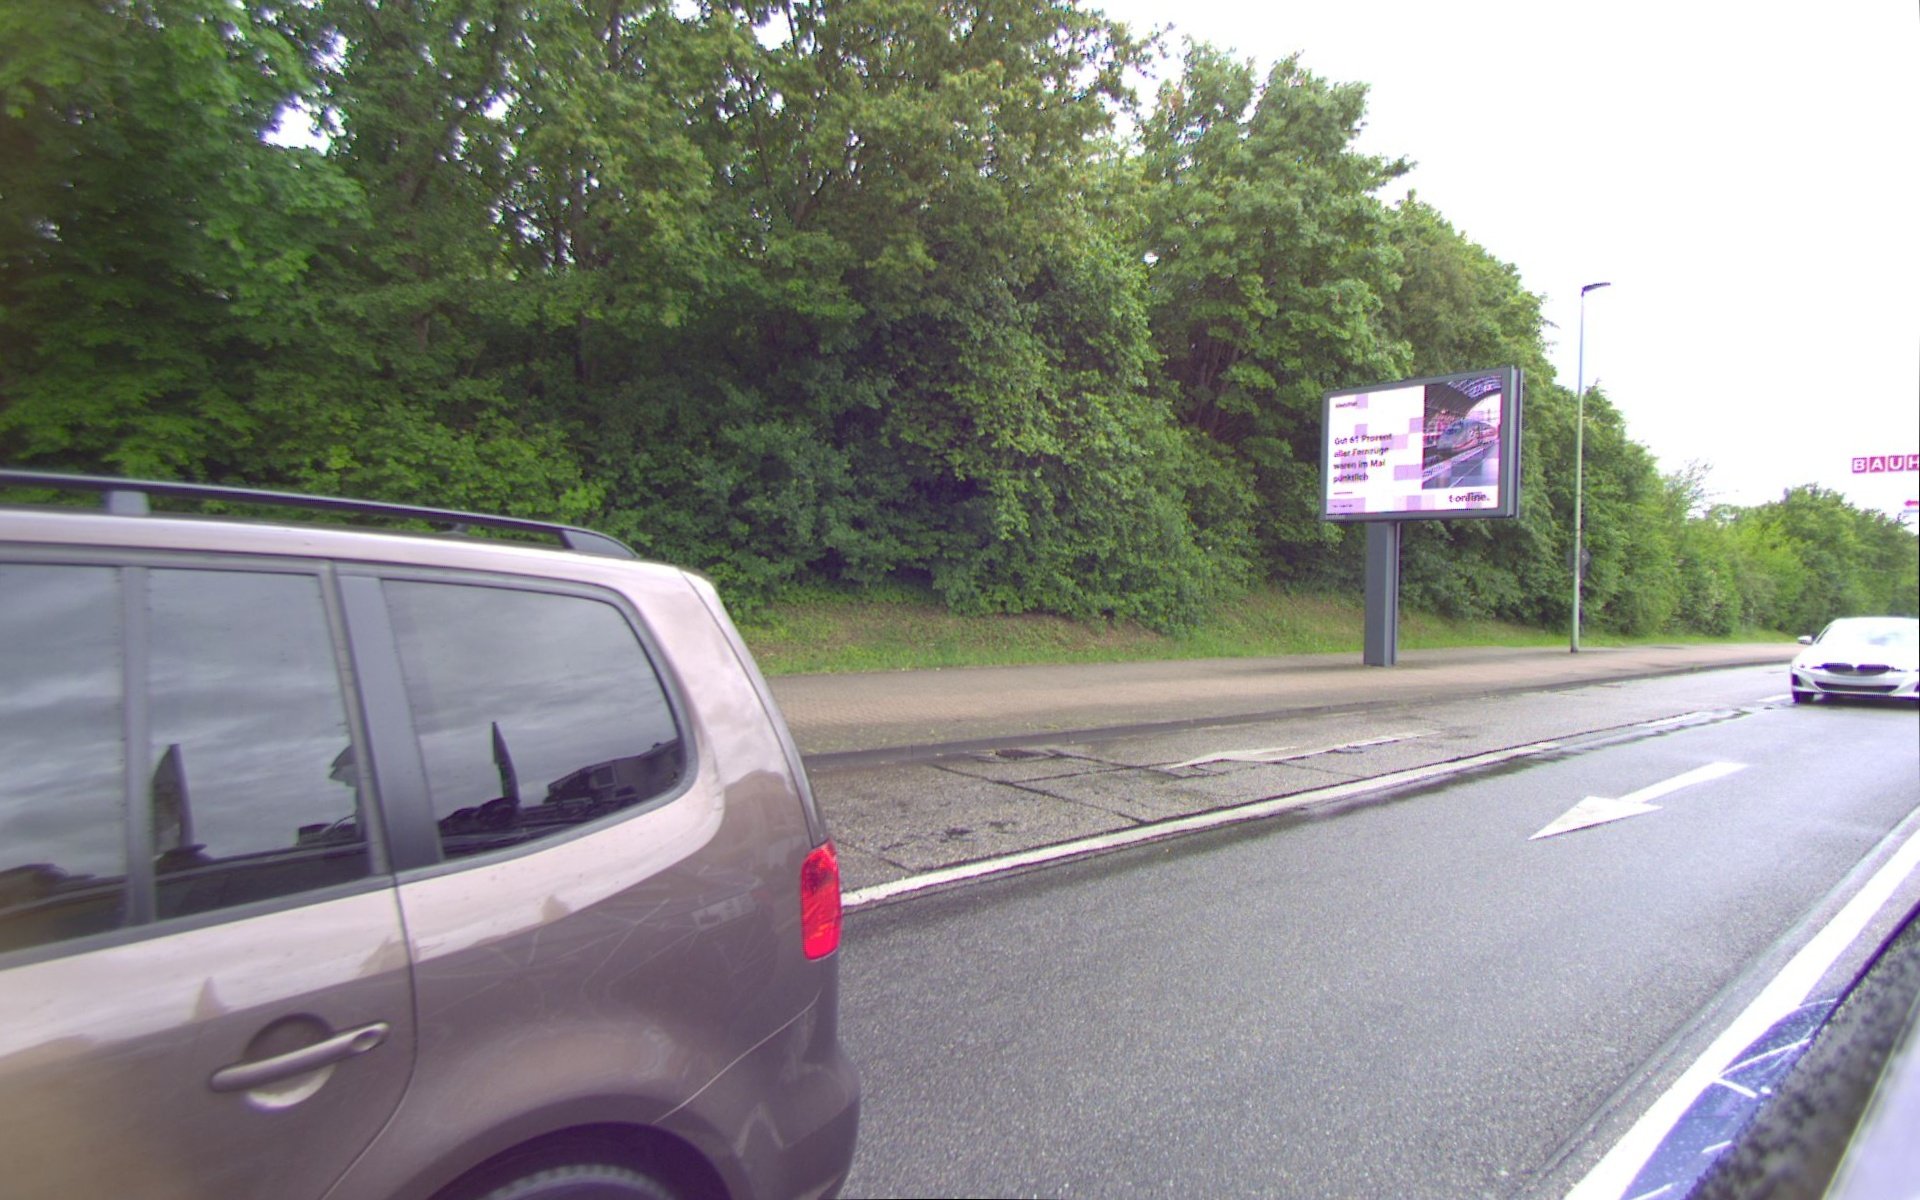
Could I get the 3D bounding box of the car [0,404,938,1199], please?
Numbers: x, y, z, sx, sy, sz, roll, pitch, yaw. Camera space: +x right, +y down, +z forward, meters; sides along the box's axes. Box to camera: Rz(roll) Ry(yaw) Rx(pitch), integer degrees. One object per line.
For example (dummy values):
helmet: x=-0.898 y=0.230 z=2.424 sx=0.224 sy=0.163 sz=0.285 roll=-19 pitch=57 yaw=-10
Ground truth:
car: x=-2.135 y=0.570 z=1.271 sx=4.058 sy=1.617 sz=1.716 roll=2 pitch=0 yaw=-42

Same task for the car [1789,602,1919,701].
car: x=16.134 y=0.852 z=17.458 sx=3.924 sy=1.500 sz=1.865 roll=2 pitch=0 yaw=-36
